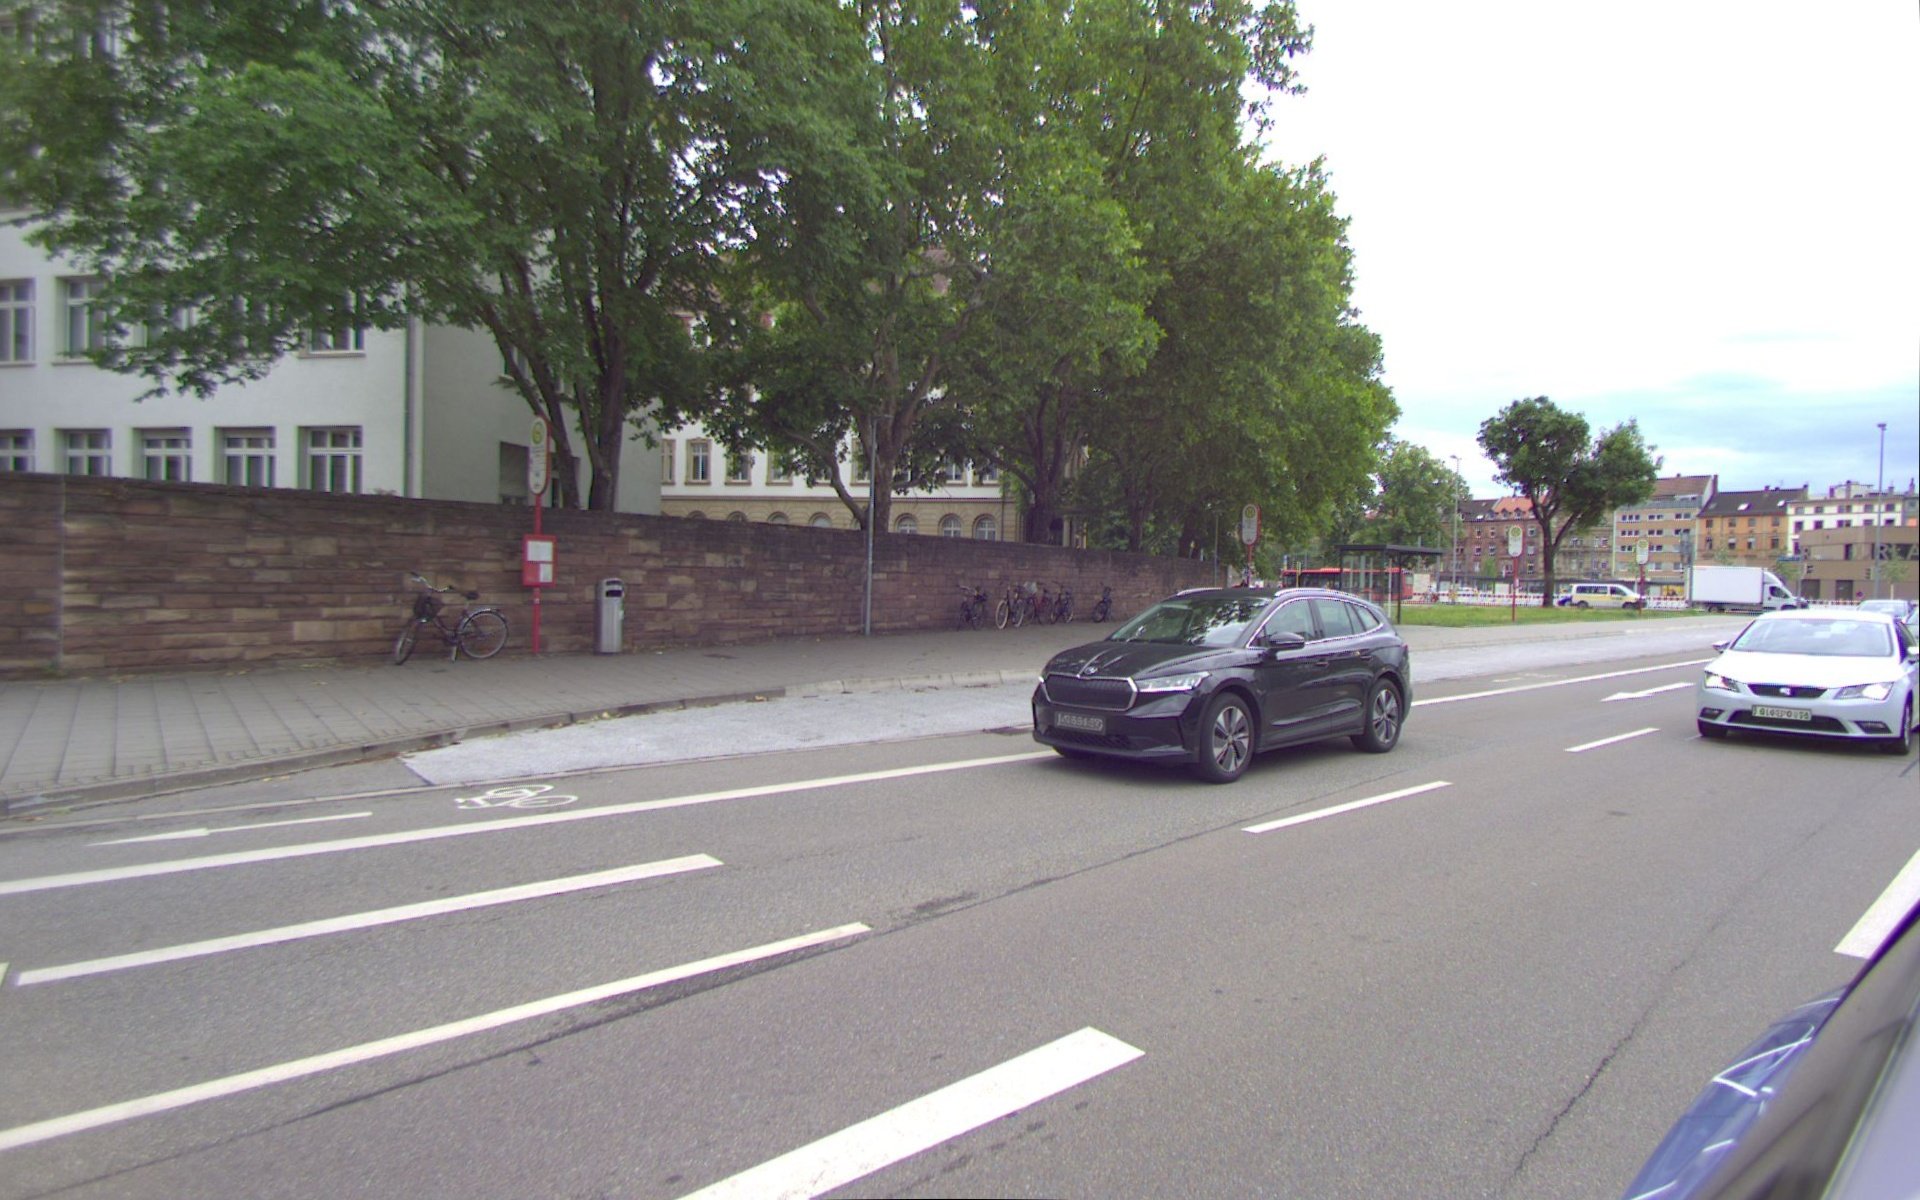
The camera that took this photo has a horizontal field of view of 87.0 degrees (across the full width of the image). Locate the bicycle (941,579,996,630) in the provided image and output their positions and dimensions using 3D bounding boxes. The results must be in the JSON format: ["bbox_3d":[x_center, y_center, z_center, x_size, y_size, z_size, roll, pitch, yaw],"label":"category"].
[{"bbox_3d":[0.214,0.086,24.060,0.712,1.113,1.781,3,2,20],"label":"bicycle"}]

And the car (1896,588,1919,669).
[{"bbox_3d":[21.180,0.564,21.237,4.371,1.620,1.885,0,0,-42],"label":"car"}]

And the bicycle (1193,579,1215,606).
[{"bbox_3d":[10.315,-0.332,42.771,0.589,1.072,1.700,3,2,23],"label":"bicycle"}]

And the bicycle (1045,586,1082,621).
[{"bbox_3d":[2.937,0.078,28.674,0.414,0.954,1.508,3,2,31],"label":"bicycle"}]

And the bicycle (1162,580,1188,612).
[{"bbox_3d":[8.116,-0.167,38.149,0.589,1.150,1.700,3,2,23],"label":"bicycle"}]

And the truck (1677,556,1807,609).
[{"bbox_3d":[53.557,-1.265,69.421,6.835,3.453,2.520,1,2,45],"label":"truck"}]

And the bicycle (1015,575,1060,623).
[{"bbox_3d":[2.112,-0.046,27.301,0.497,1.236,1.609,3,2,31],"label":"bicycle"}]

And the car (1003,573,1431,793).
[{"bbox_3d":[2.648,0.605,9.778,4.414,1.645,1.910,0,0,-42],"label":"car"}]

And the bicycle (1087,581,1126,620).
[{"bbox_3d":[4.432,-0.006,30.622,0.593,1.118,1.638,3,2,29],"label":"bicycle"}]

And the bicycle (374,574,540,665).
[{"bbox_3d":[-6.990,0.236,14.140,0.845,1.141,1.900,4,3,34],"label":"bicycle"}]

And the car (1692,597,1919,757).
[{"bbox_3d":[9.944,0.725,11.546,3.803,1.481,1.784,0,1,-41],"label":"car"}]

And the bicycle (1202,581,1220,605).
[{"bbox_3d":[11.002,-0.324,44.342,0.544,1.004,1.626,3,2,20],"label":"bicycle"}]

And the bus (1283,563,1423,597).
[{"bbox_3d":[36.504,-1.900,94.578,2.889,2.944,12.067,0,1,-44],"label":"bus"}]

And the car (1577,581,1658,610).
[{"bbox_3d":[48.426,-0.397,74.583,1.889,1.942,4.704,-3,4,-44],"label":"car"}]

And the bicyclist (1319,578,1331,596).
[{"bbox_3d":[31.962,-1.175,88.602,0.737,1.526,0.757,4,2,39],"label":"bicyclist"}]

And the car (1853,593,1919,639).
[{"bbox_3d":[32.652,0.526,35.394,3.596,1.484,1.669,0,1,-41],"label":"car"}]

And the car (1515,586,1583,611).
[{"bbox_3d":[47.919,-0.156,82.389,4.418,1.767,1.737,5,3,44],"label":"car"}]

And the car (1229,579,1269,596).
[{"bbox_3d":[27.644,-1.203,96.936,3.422,1.399,1.266,2,-6,44],"label":"car"}]

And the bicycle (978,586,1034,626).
[{"bbox_3d":[1.190,0.133,25.748,0.650,0.963,1.750,3,2,31],"label":"bicycle"}]

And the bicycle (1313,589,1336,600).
[{"bbox_3d":[31.896,-0.473,88.641,1.687,0.926,0.757,4,3,39],"label":"bicycle"}]

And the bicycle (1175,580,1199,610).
[{"bbox_3d":[8.911,-0.210,39.678,0.589,1.143,1.700,3,2,23],"label":"bicycle"}]

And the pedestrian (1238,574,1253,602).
[{"bbox_3d":[18.420,-0.769,65.295,0.745,1.756,0.821,3,2,10],"label":"pedestrian"}]
